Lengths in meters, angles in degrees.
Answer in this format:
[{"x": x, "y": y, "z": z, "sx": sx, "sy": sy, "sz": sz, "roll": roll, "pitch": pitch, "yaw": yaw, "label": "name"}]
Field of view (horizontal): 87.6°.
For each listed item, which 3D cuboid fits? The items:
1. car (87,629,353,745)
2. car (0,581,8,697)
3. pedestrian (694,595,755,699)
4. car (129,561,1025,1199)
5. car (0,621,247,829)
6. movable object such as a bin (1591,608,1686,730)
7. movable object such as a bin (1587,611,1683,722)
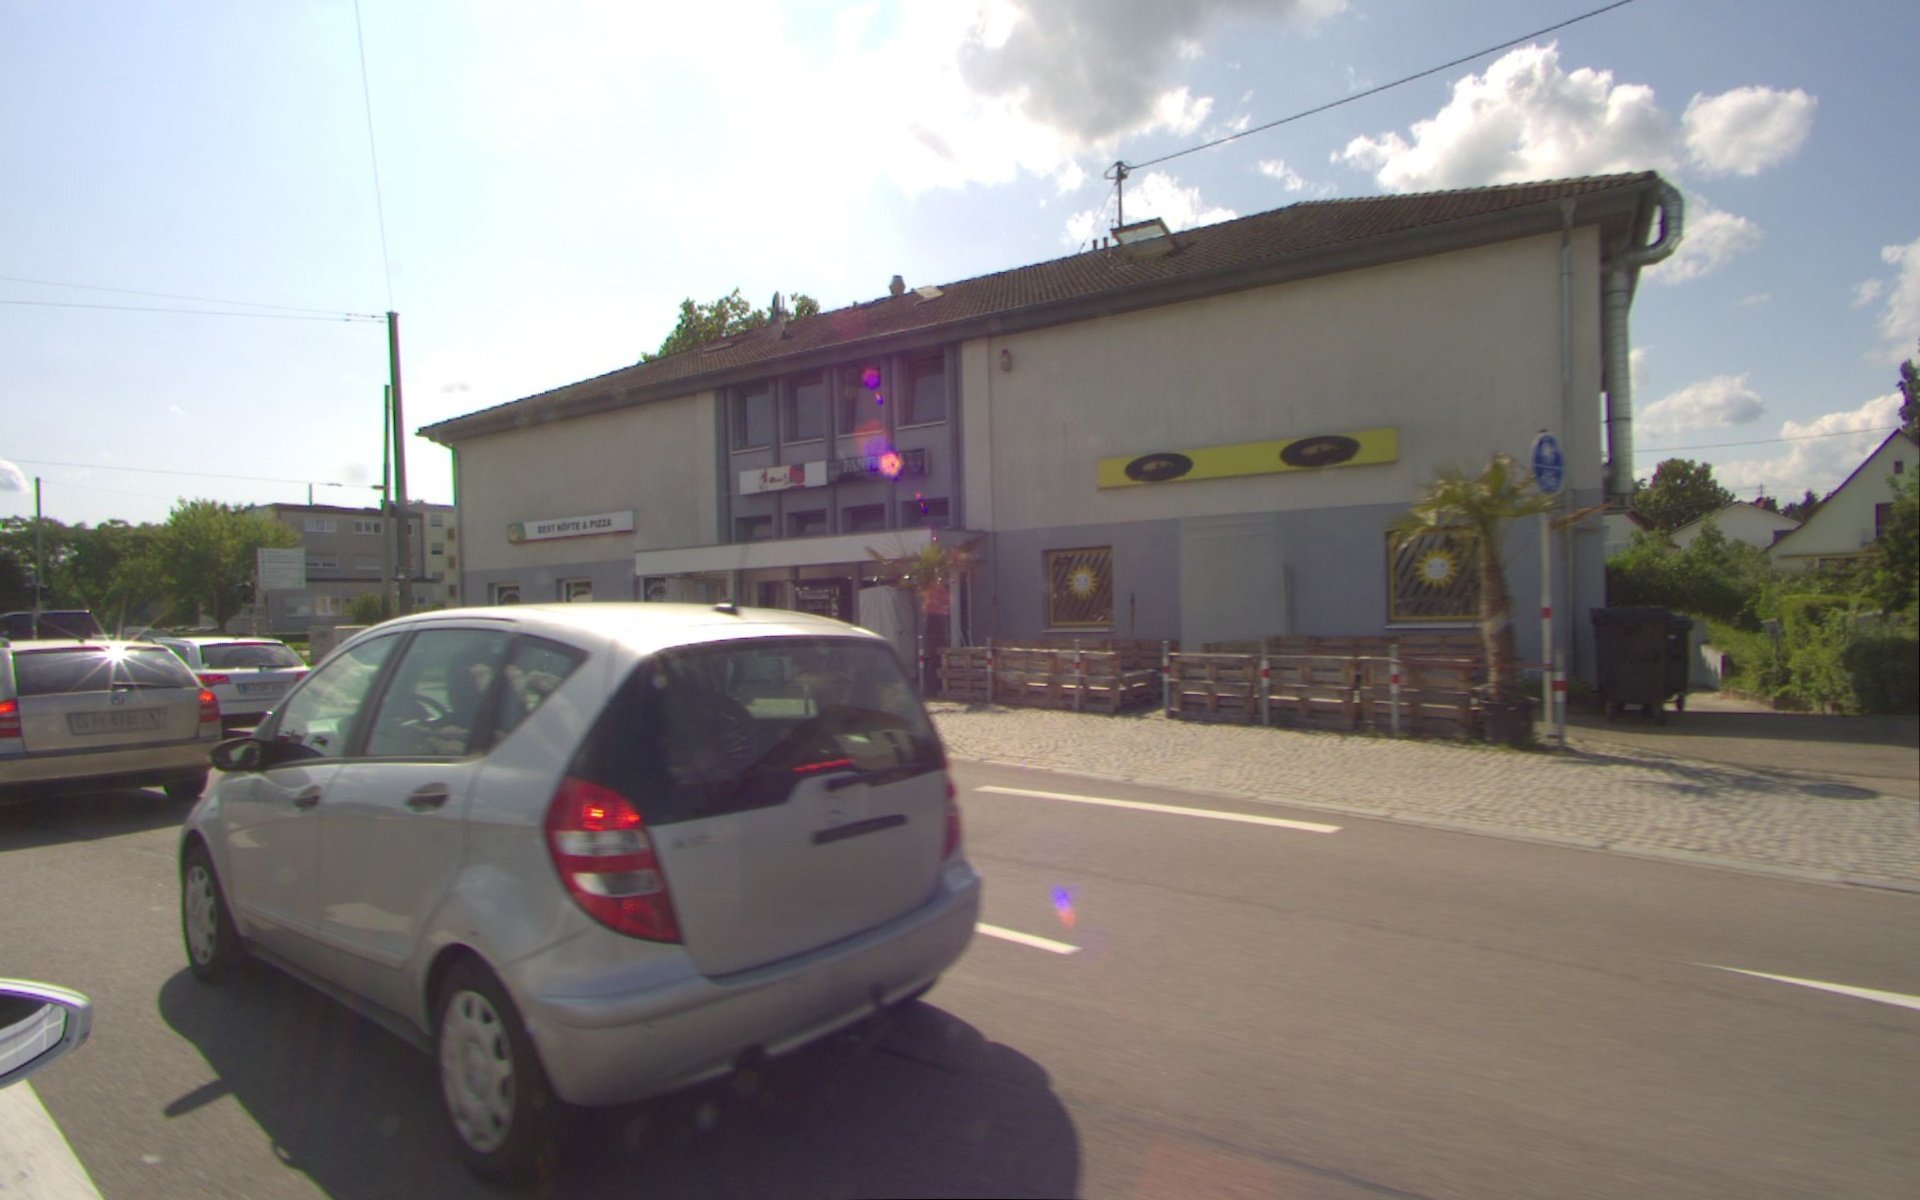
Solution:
[{"x": -11.239, "y": 1.214, "z": 15.121, "sx": 4.473, "sy": 1.511, "sz": 1.850, "roll": -2, "pitch": -2, "yaw": 34, "label": "car"}, {"x": -24.124, "y": 0.911, "z": 22.999, "sx": 5.156, "sy": 2.590, "sz": 2.037, "roll": -1, "pitch": -1, "yaw": 32, "label": "car"}, {"x": -4.246, "y": 0.835, "z": 18.044, "sx": 0.693, "sy": 1.807, "sz": 0.719, "roll": -1, "pitch": 2, "yaw": 35, "label": "pedestrian"}, {"x": -1.883, "y": 0.772, "z": 4.224, "sx": 4.045, "sy": 1.597, "sz": 1.780, "roll": -2, "pitch": -1, "yaw": 39, "label": "car"}, {"x": -8.501, "y": 0.983, "z": 9.160, "sx": 4.566, "sy": 1.511, "sz": 1.735, "roll": -2, "pitch": -2, "yaw": 34, "label": "car"}, {"x": 8.078, "y": 0.783, "z": 11.947, "sx": 0.874, "sy": 1.350, "sz": 1.079, "roll": 2, "pitch": 1, "yaw": 34, "label": "movable object such as a bin"}, {"x": 8.838, "y": 0.830, "z": 13.101, "sx": 0.876, "sy": 1.350, "sz": 1.199, "roll": 2, "pitch": 1, "yaw": 41, "label": "movable object such as a bin"}]
